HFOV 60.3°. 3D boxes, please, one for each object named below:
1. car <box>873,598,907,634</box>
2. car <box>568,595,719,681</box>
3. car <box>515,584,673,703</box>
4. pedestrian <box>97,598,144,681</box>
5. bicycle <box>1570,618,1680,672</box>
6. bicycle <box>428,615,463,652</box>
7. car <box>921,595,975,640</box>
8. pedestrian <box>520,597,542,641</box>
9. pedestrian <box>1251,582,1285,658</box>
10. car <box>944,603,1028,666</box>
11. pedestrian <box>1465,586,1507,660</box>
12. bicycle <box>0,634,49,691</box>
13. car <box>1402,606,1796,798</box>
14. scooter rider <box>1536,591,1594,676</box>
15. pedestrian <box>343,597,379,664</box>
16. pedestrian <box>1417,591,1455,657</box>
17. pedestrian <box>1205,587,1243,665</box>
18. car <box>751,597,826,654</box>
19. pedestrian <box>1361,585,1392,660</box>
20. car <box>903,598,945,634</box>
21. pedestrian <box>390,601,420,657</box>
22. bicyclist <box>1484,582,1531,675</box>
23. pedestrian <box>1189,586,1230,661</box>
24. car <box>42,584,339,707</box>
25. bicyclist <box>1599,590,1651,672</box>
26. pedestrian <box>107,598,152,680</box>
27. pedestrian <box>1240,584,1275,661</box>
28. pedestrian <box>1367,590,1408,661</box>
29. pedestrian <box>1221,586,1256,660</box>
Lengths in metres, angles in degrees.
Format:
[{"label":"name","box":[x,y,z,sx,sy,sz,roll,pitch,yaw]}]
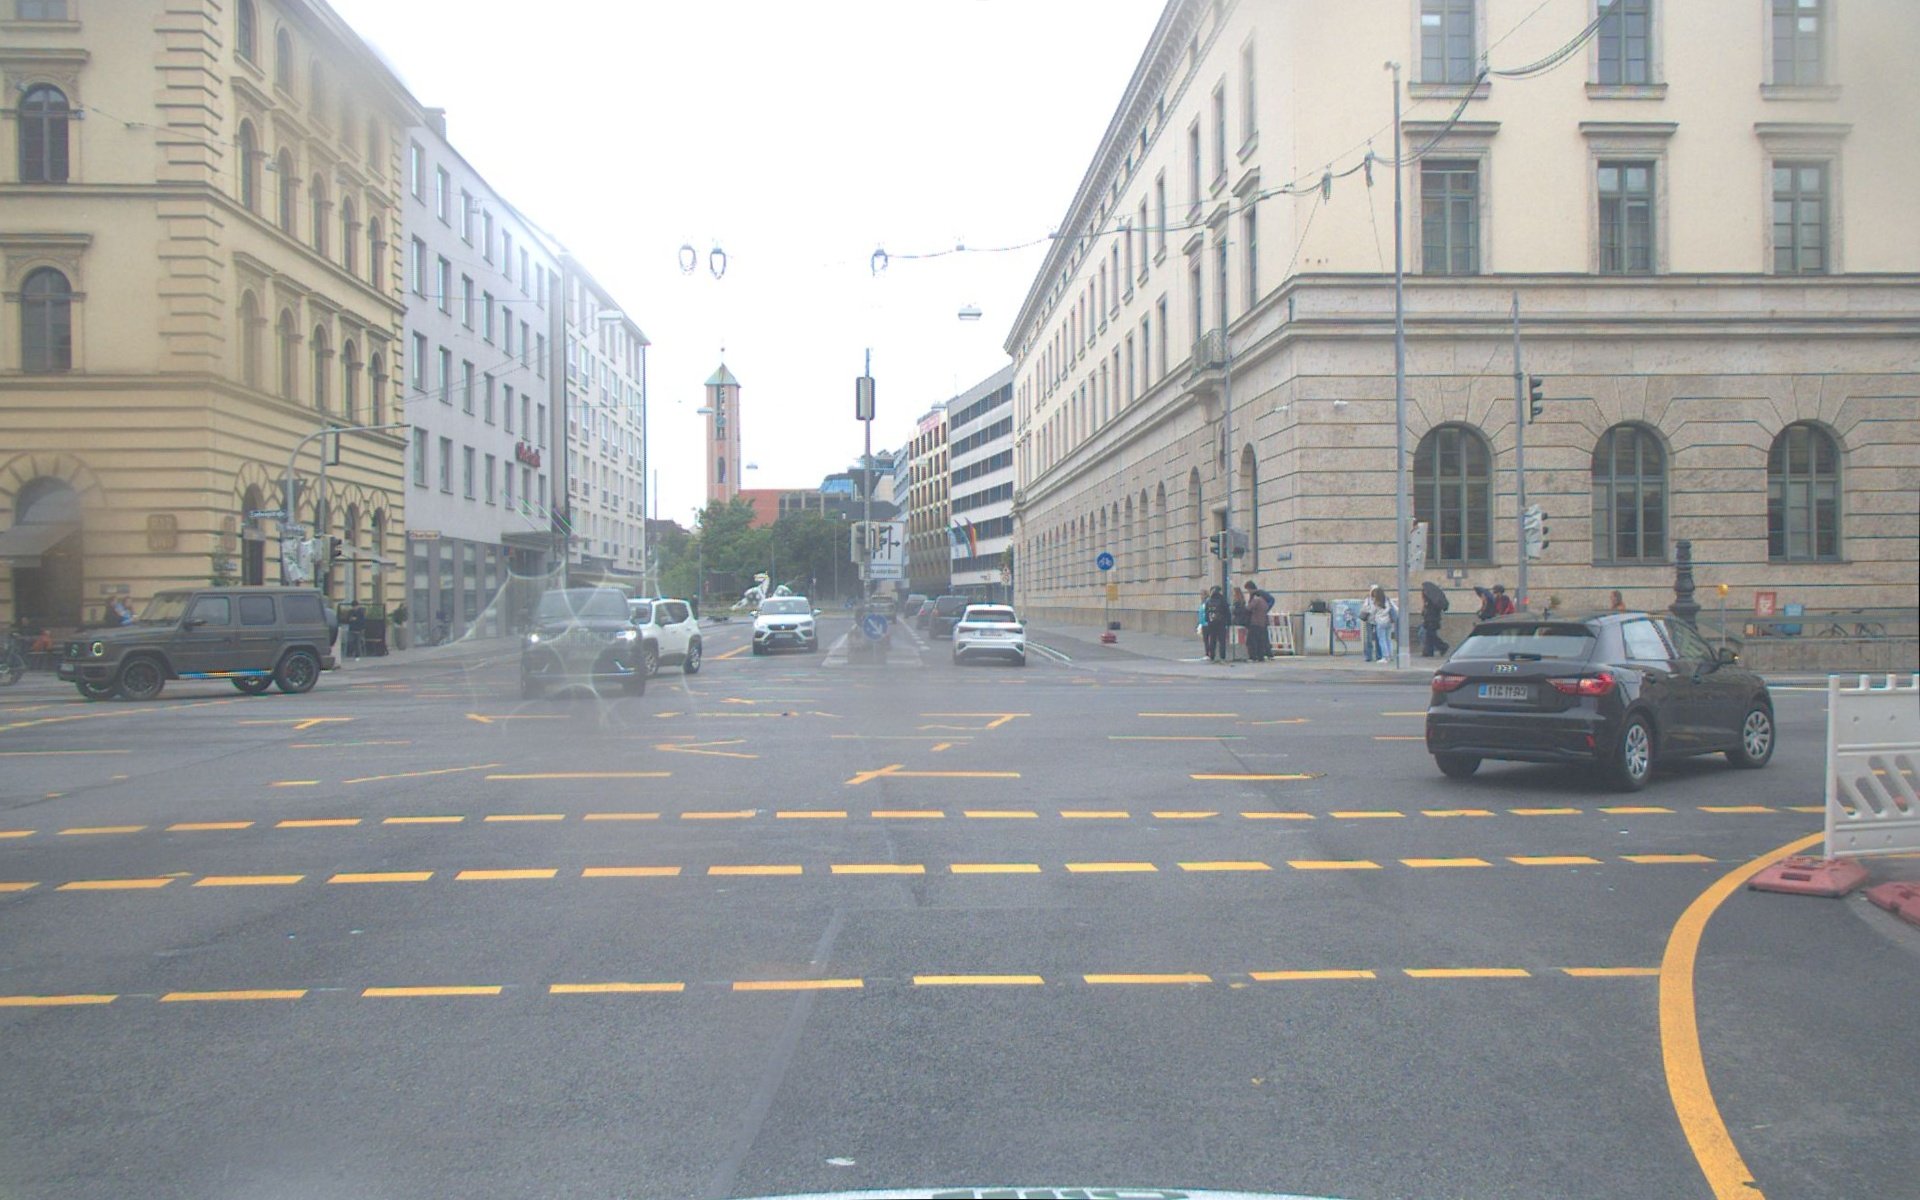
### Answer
[{"label":"car","box":[-4.166,0.907,97.700,1.954,2.049,3.997,0,0,-4]},{"label":"car","box":[-6.727,0.768,35.612,1.755,1.707,4.237,-1,0,11]},{"label":"car","box":[-5.959,0.653,27.423,1.956,1.765,4.580,-1,0,-5]},{"label":"pedestrian","box":[-18.355,0.853,36.177,0.721,1.803,0.737,1,0,-13]},{"label":"bicycle","box":[13.543,0.909,33.716,1.918,1.059,0.795,1,0,-1]},{"label":"bicycle","box":[-18.368,1.181,59.110,0.586,1.264,2.199,1,0,-1]},{"label":"car","box":[-0.467,0.644,62.375,1.828,1.629,3.848,-1,0,-4]},{"label":"pedestrian","box":[-17.584,0.773,67.848,0.722,1.803,0.735,1,0,-4]},{"label":"pedestrian","box":[7.390,0.473,39.680,0.572,1.786,0.819,0,0,28]},{"label":"car","box":[0.588,0.821,41.324,1.777,1.449,4.449,1,0,-3]},{"label":"pedestrian","box":[12.366,0.537,38.910,0.701,1.723,0.820,1,0,-2]},{"label":"bicycle","box":[-19.713,1.280,33.507,2.166,1.118,0.594,-1,0,-28]},{"label":"car","box":[5.672,0.770,14.428,1.838,1.412,3.973,0,0,44]},{"label":"scooter rider","box":[11.917,0.648,32.581,0.913,1.651,0.592,1,0,-2]},{"label":"pedestrian","box":[-16.333,0.818,45.101,0.722,1.803,0.735,1,0,-4]},{"label":"pedestrian","box":[11.324,0.567,39.353,0.651,1.554,0.820,1,0,-1]},{"label":"pedestrian","box":[6.137,0.608,38.466,0.800,1.786,0.680,1,0,13]},{"label":"car","box":[-4.934,0.712,48.034,1.954,1.550,4.230,-1,0,-4]},{"label":"pedestrian","box":[9.592,0.509,38.092,0.603,1.701,0.542,1,0,4]},{"label":"car","box":[-1.729,0.730,78.629,1.828,1.629,3.848,-1,0,-4]},{"label":"pedestrian","box":[-18.168,0.948,54.149,0.722,1.803,0.735,1,0,-4]},{"label":"bicyclist","box":[11.173,0.583,33.780,0.728,1.874,0.660,1,0,0]},{"label":"pedestrian","box":[6.041,0.557,40.036,0.810,1.786,0.579,1,0,-34]},{"label":"car","box":[-13.985,0.752,30.244,2.203,2.049,4.428,-1,0,39]},{"label":"bicyclist","box":[13.550,0.622,33.713,0.728,1.643,0.795,1,0,0]},{"label":"pedestrian","box":[-18.532,0.858,36.920,0.721,1.803,0.737,1,0,-13]},{"label":"pedestrian","box":[7.005,0.529,38.884,0.572,1.786,0.819,0,0,28]},{"label":"pedestrian","box":[9.664,0.570,37.410,0.800,1.584,0.667,1,0,4]},{"label":"pedestrian","box":[6.829,0.550,40.532,0.800,1.786,0.586,1,0,11]}]
